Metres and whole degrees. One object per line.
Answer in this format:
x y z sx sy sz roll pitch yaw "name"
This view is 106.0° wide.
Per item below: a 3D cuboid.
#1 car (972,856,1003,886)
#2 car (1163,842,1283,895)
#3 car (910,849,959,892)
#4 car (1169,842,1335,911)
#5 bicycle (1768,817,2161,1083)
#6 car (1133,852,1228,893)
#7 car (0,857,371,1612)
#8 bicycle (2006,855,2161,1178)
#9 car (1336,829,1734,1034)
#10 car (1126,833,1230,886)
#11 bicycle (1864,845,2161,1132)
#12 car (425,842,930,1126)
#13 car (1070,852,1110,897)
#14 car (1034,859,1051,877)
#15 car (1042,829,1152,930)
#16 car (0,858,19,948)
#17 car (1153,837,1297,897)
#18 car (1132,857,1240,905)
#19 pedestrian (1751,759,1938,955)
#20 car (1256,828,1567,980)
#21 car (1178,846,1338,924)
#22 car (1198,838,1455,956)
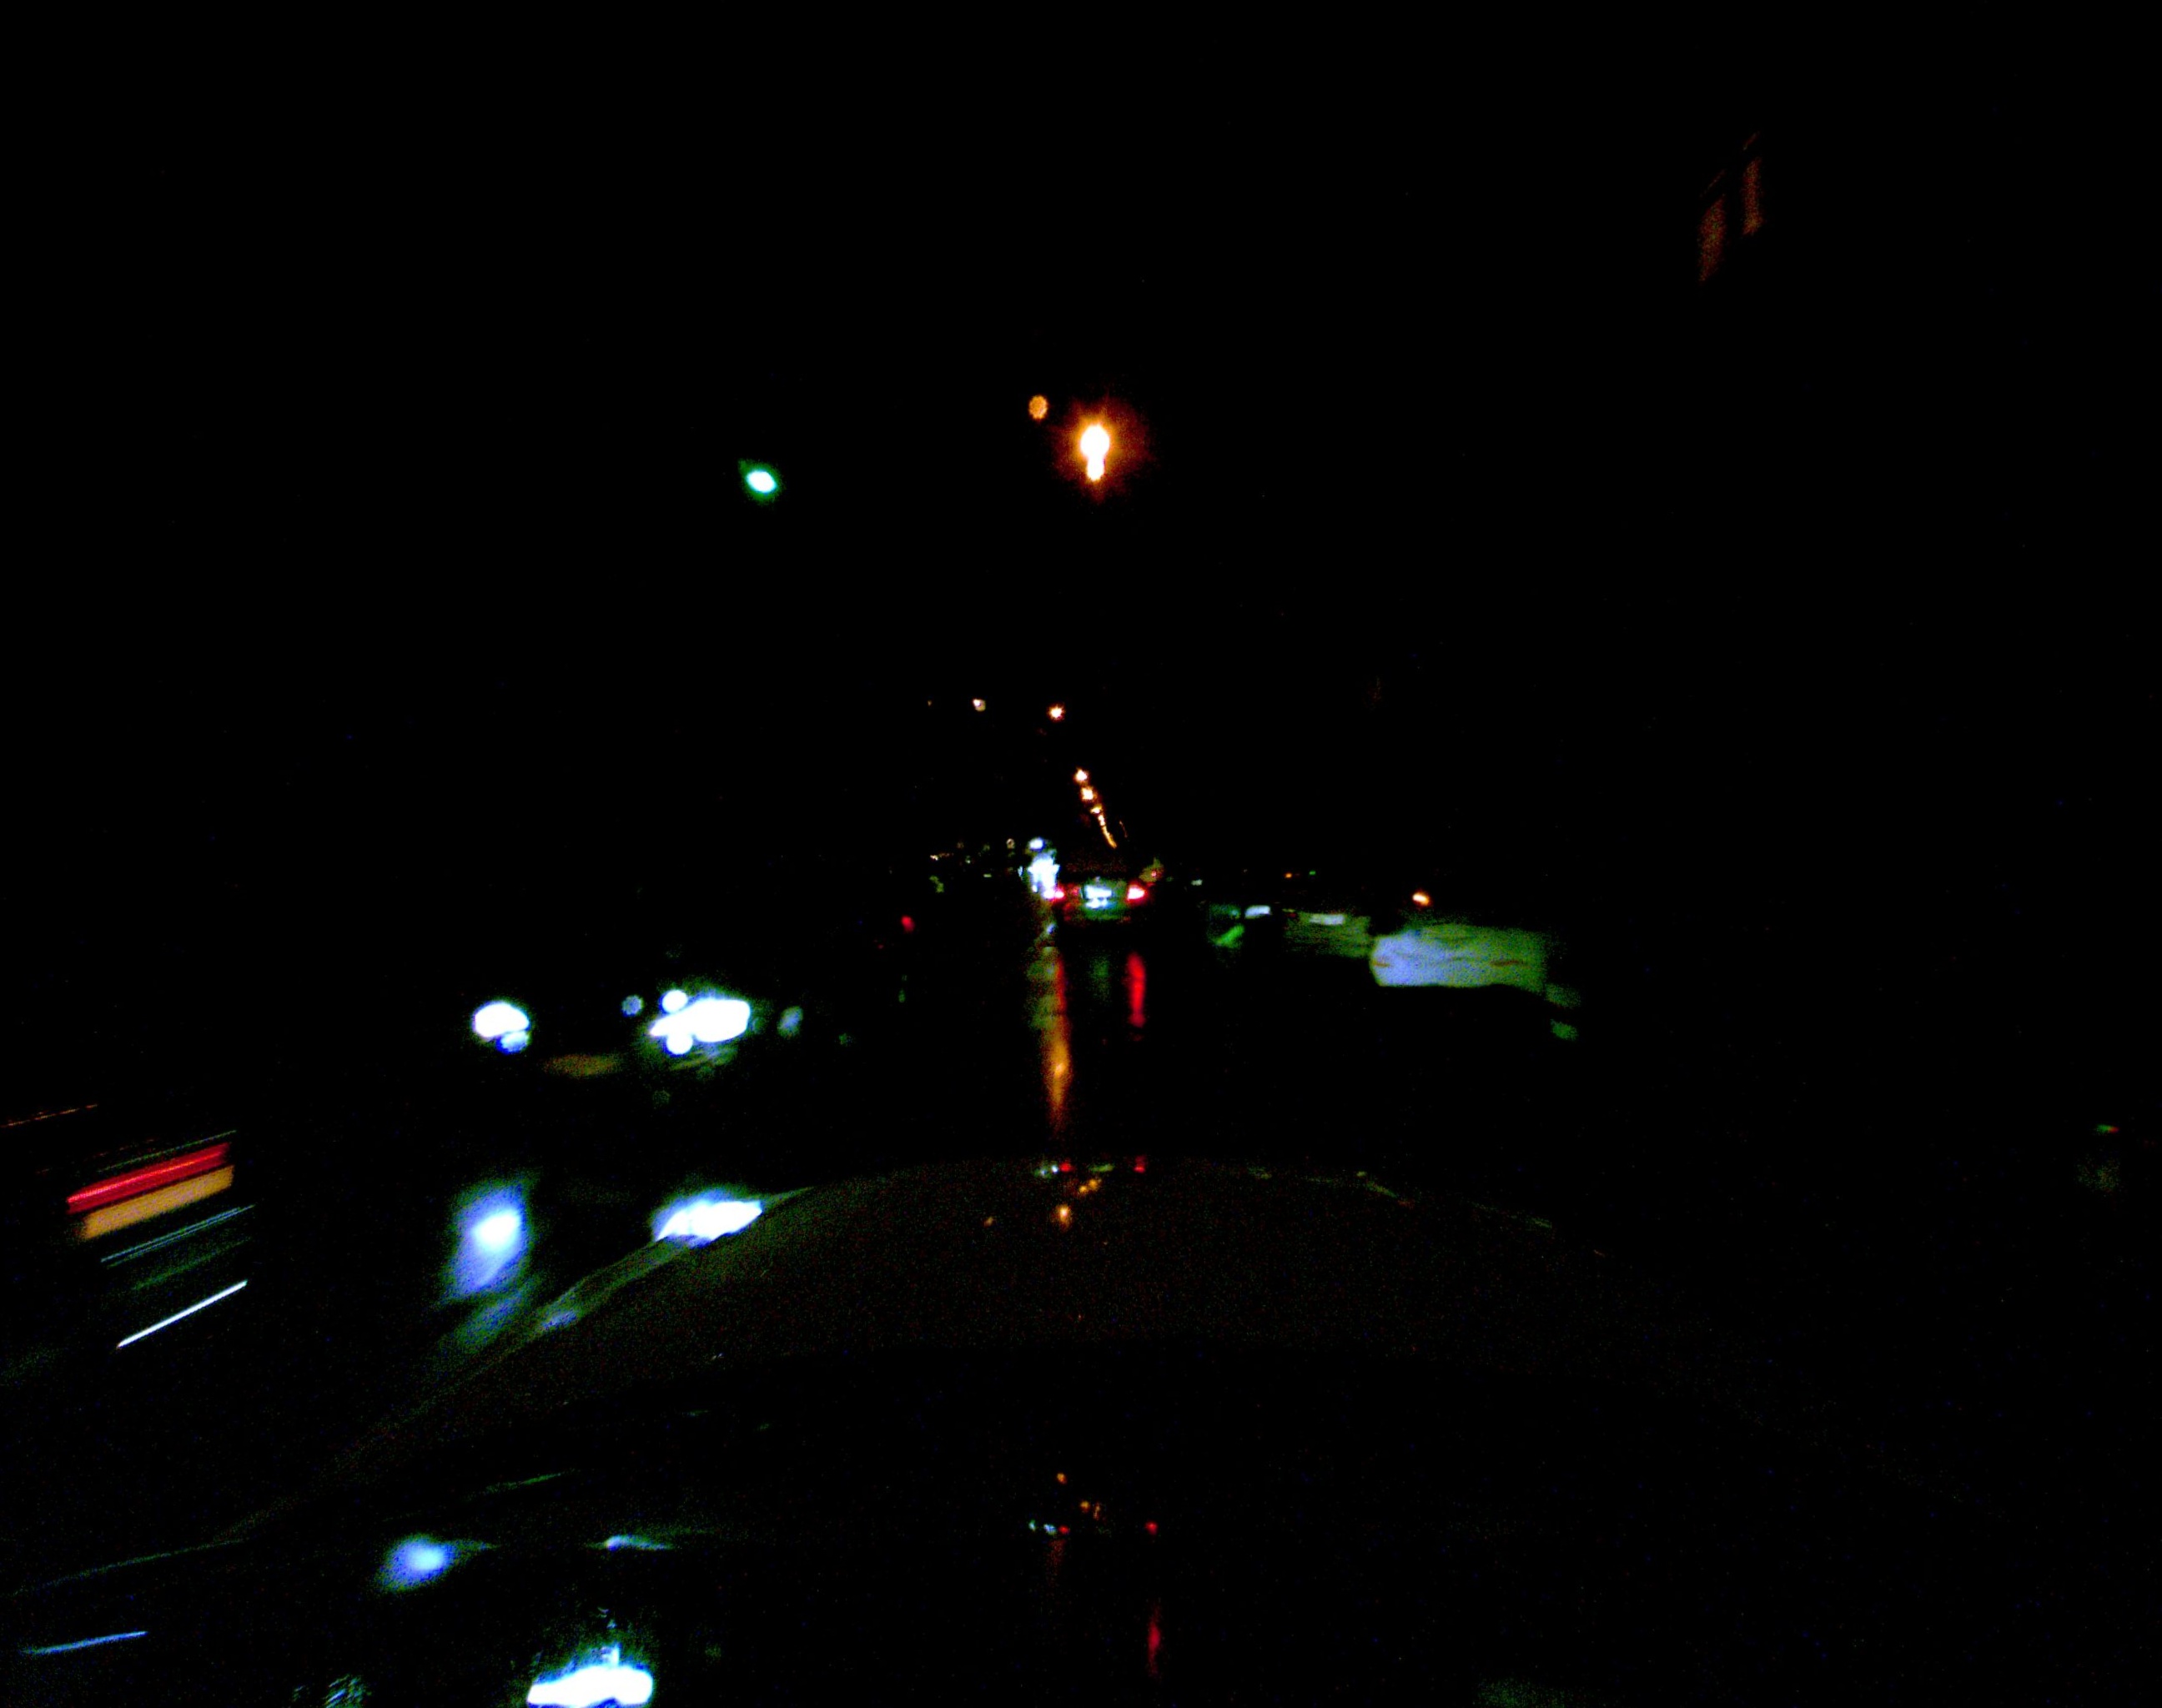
-6.304 1.111 54.794 1.726 1.972 3.712 -1 0 -12 "car"
5.106 0.478 29.123 4.204 1.645 1.750 -3 0 -36 "car"
-7.218 0.768 39.792 1.995 1.972 4.279 -1 0 -15 "car"
4.777 0.585 22.815 4.185 1.645 1.759 -3 0 -19 "car"
5.245 0.519 4.784 1.892 1.360 0.595 -3 -1 -3 "bicycle"
4.609 0.831 37.399 4.204 1.645 1.750 -3 0 -36 "car"
-2.914 0.722 0.278 1.662 1.421 4.098 -1 0 2 "car"
5.202 0.616 3.450 1.892 1.252 0.595 -3 -1 -3 "bicycle"
4.663 0.571 8.150 4.204 1.457 1.837 -3 0 -36 "car"
4.907 0.236 40.847 5.032 2.391 2.116 -3 0 -36 "car"
5.190 0.610 4.111 1.892 1.252 0.595 -3 -1 -3 "bicycle"
-2.715 0.745 6.987 1.781 1.554 4.856 -1 0 2 "car"
0.366 0.911 38.046 1.719 1.972 4.218 -1 0 -1 "car"
-4.237 1.525 90.671 1.719 1.972 4.218 -1 0 -1 "car"
0.406 0.526 18.553 2.159 1.972 4.304 -2 0 2 "car"
-22.197 1.007 14.172 1.681 1.700 4.219 -1 1 27 "car"
4.609 0.385 26.120 4.185 1.645 1.759 -3 0 -19 "car"
4.275 1.055 32.923 4.204 1.645 1.750 -3 0 -36 "car"
7.802 0.030 8.388 0.953 1.882 1.000 -1 0 3 "pedestrian"
4.514 0.527 10.894 4.204 1.576 1.861 -3 0 -36 "car"
4.527 0.710 20.523 4.207 1.645 1.642 -3 0 -39 "car"
4.159 0.619 13.614 4.200 1.590 1.714 -3 0 -32 "car"
